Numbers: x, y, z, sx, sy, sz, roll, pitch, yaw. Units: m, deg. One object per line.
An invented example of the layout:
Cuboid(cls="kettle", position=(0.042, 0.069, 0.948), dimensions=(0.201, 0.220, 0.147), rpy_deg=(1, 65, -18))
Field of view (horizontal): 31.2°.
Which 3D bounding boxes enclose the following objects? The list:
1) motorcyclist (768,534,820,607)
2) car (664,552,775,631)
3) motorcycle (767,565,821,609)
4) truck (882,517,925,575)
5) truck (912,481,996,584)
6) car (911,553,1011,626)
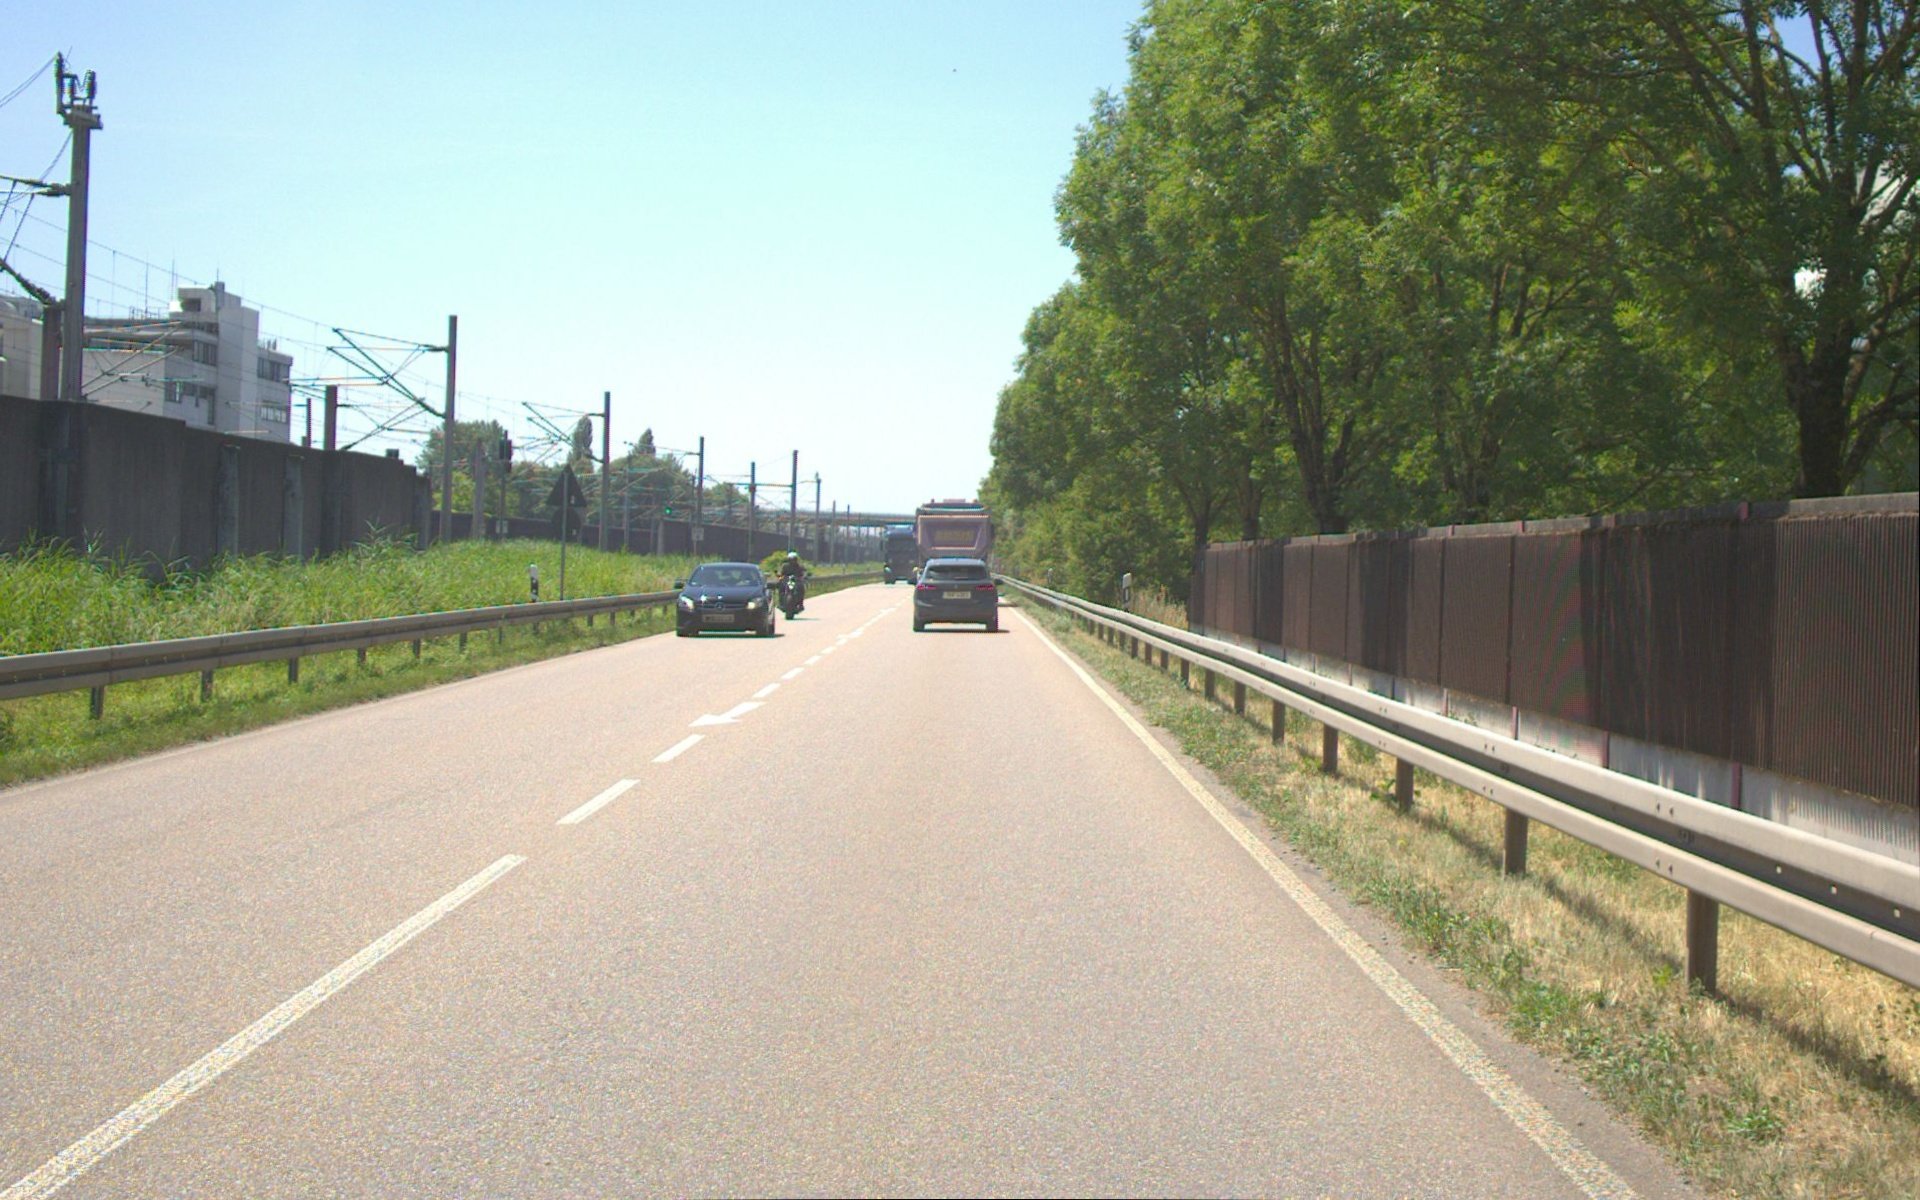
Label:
Cuboid(cls="motorcyclist", position=(-4.243, -0.758, 88.118), dimensions=(1.254, 1.858, 1.245), rpy_deg=(1, 1, 0))
Cuboid(cls="car", position=(-4.711, -0.190, 67.853), dimensions=(1.993, 1.503, 4.000), rpy_deg=(1, 1, -2))
Cuboid(cls="motorcycle", position=(-4.253, -0.344, 88.179), dimensions=(1.237, 1.069, 3.129), rpy_deg=(1, 1, 0))
Cuboid(cls="truck", position=(-3.954, -3.770, 240.914), dimensions=(2.797, 3.964, 10.500), rpy_deg=(1, 1, 0))
Cuboid(cls="truck", position=(-0.205, -2.303, 120.750), dimensions=(2.770, 3.414, 10.819), rpy_deg=(1, 1, 0))
Cuboid(cls="car", position=(-0.012, -0.252, 74.252), dimensions=(1.993, 1.503, 4.000), rpy_deg=(1, 1, -2))
